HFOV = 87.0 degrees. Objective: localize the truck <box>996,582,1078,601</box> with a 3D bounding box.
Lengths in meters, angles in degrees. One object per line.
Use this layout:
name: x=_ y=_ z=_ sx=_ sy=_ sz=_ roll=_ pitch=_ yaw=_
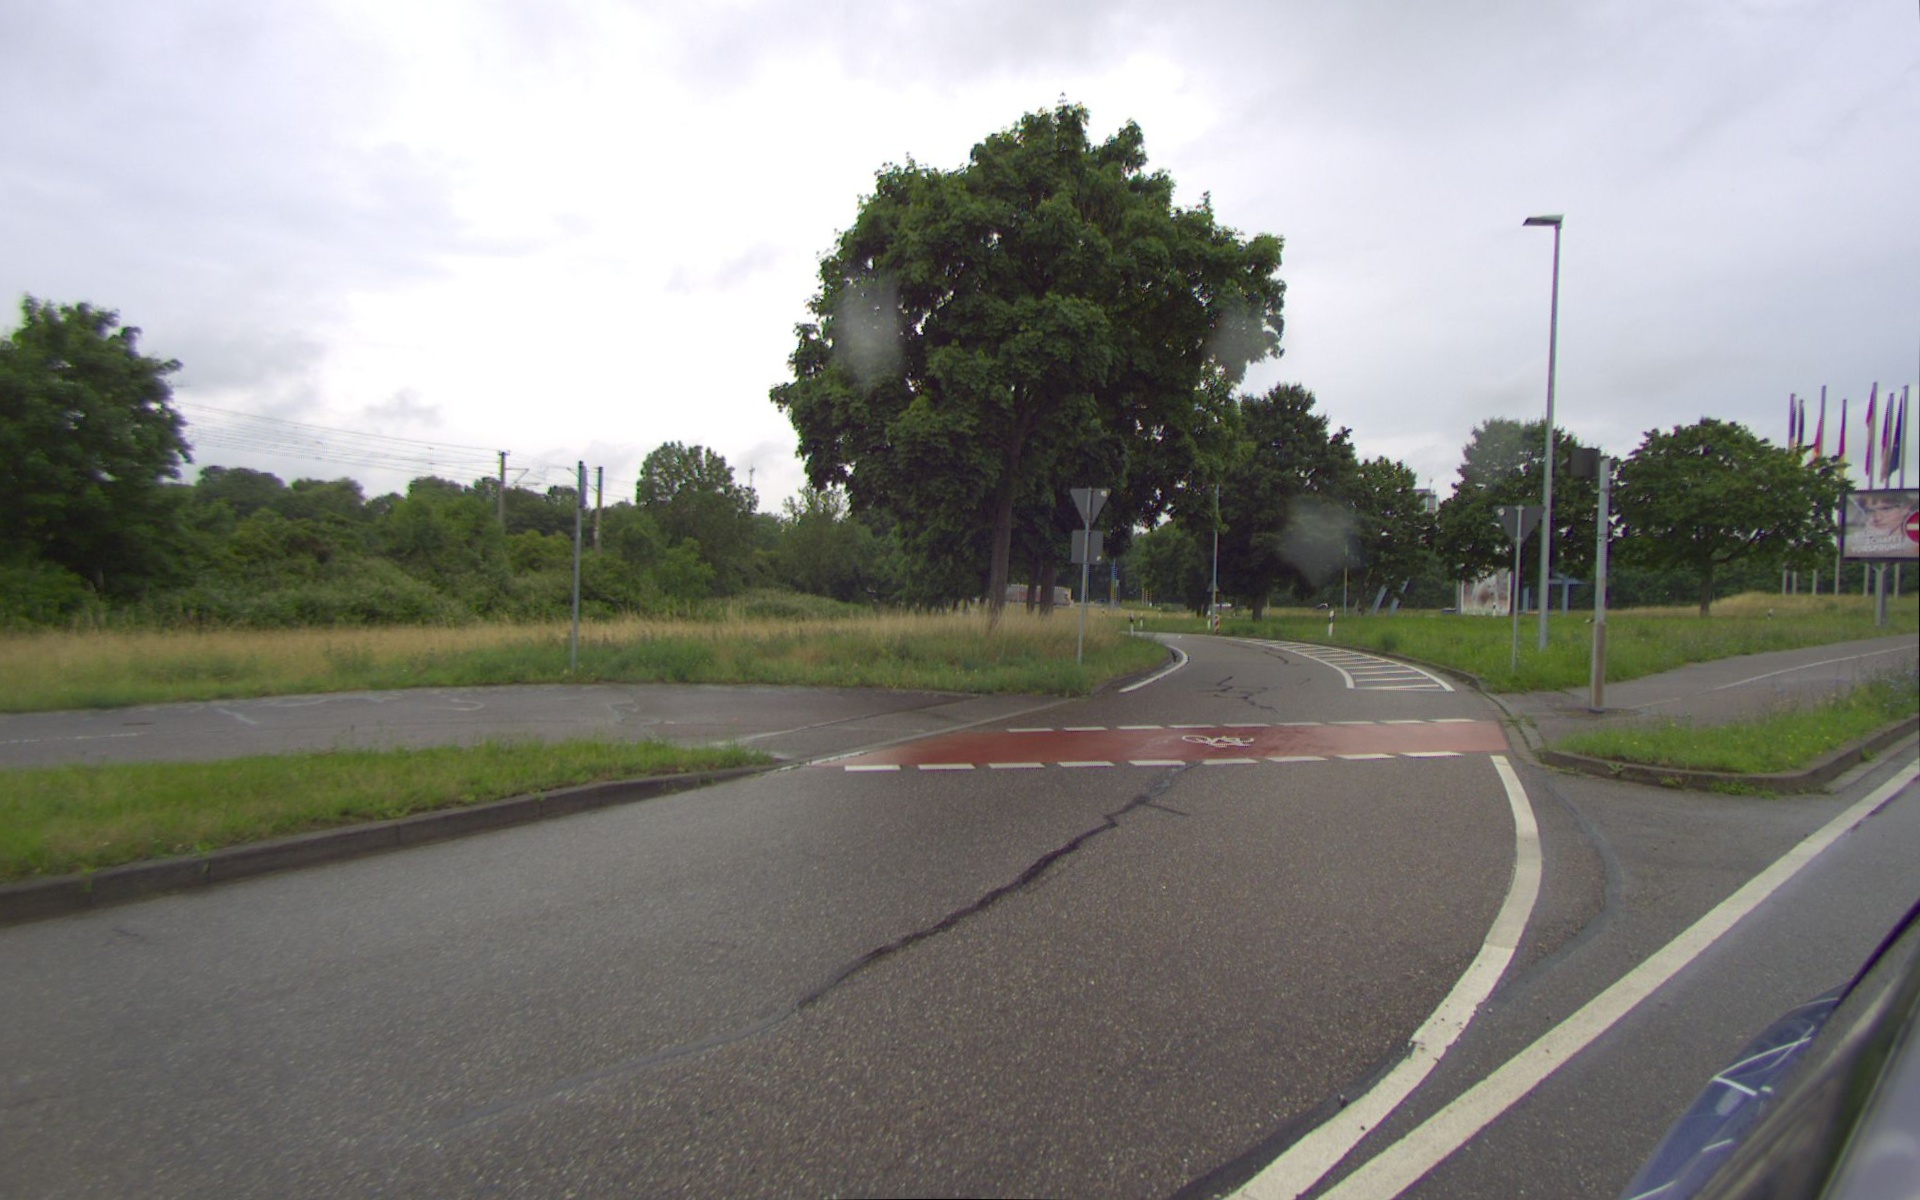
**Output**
truck: x=14.252 y=-1.570 z=189.348 sx=16.151 sy=3.433 sz=2.716 roll=1 pitch=0 yaw=34
